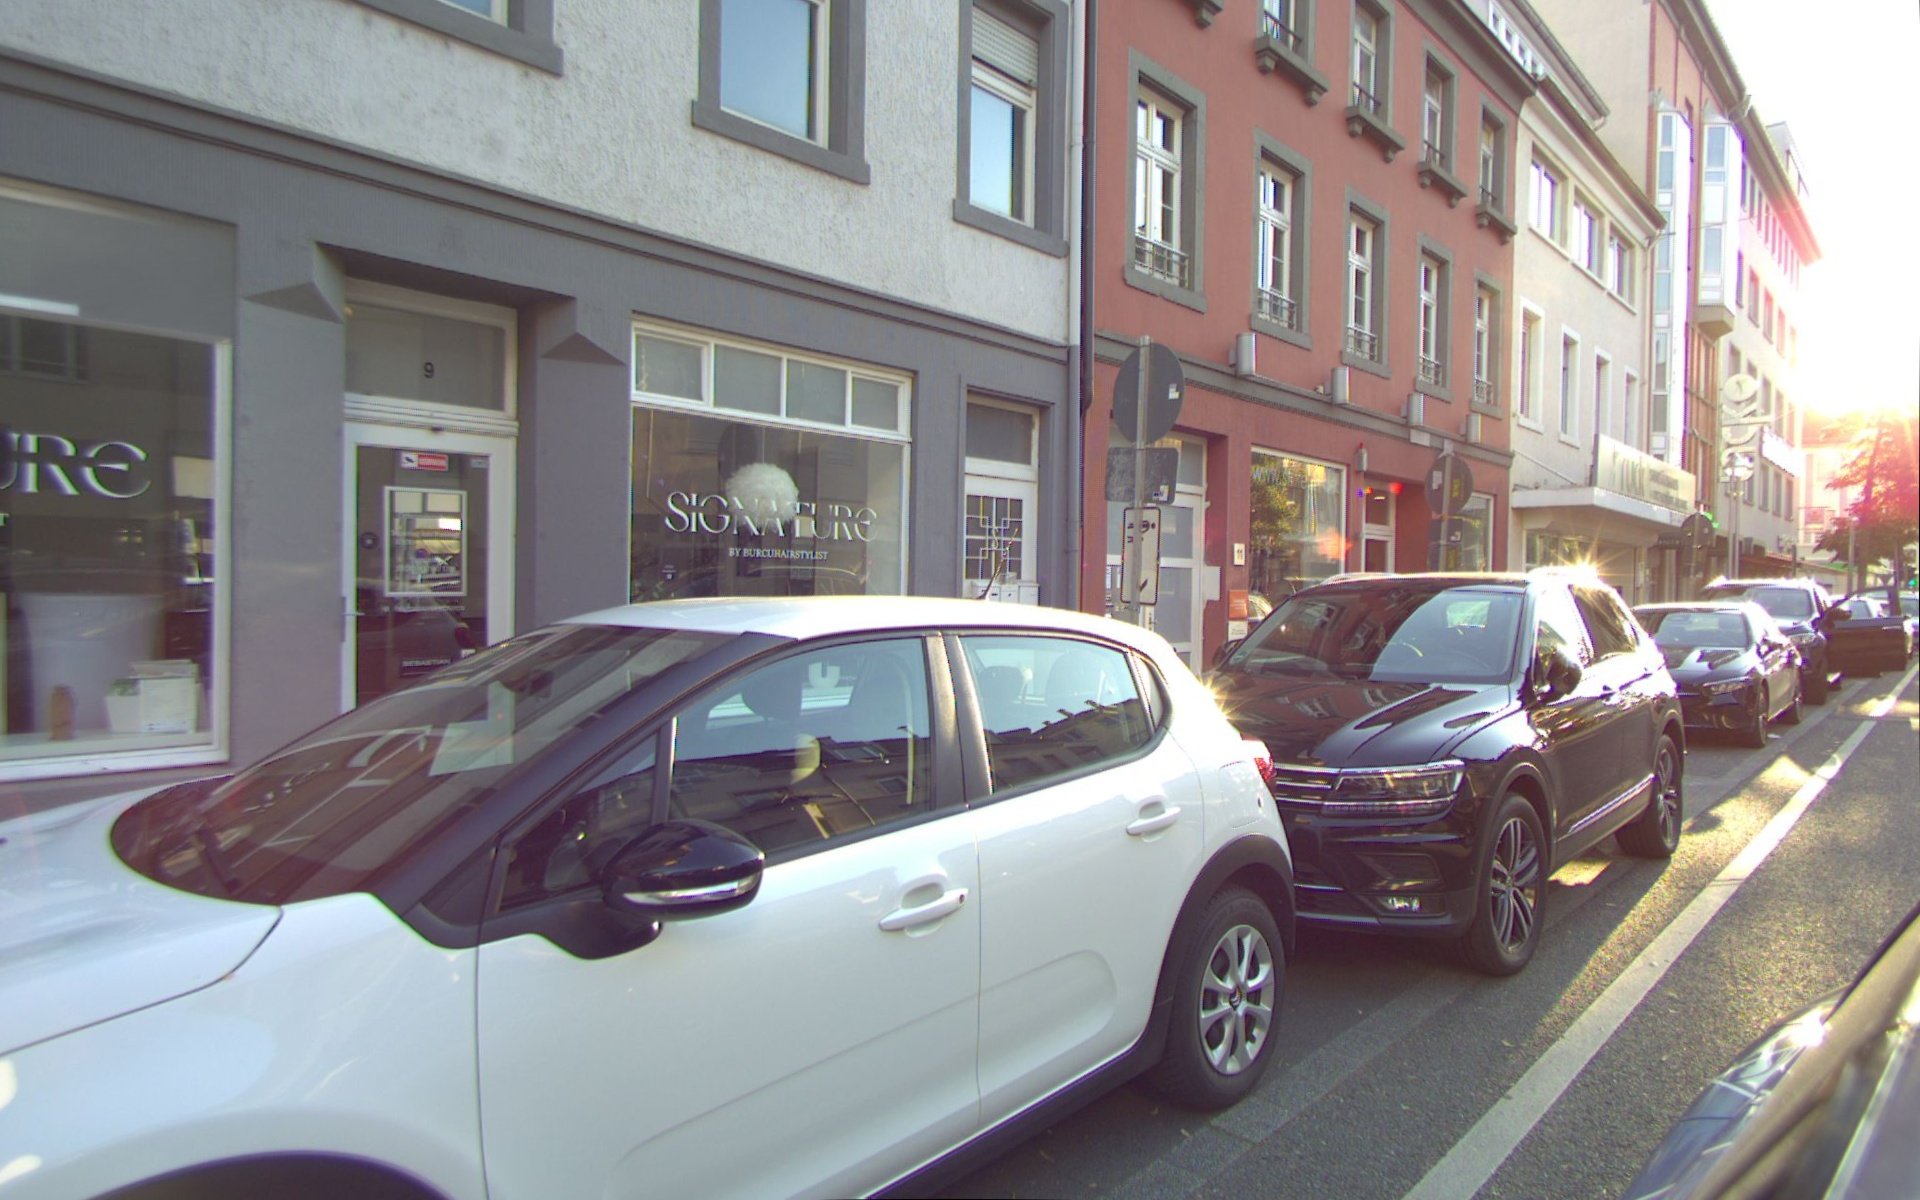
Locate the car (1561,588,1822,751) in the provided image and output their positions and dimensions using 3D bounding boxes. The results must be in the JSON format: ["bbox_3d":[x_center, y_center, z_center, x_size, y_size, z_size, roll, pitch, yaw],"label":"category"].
[{"bbox_3d":[8.435,0.638,11.506,4.338,1.507,1.686,-1,-1,-44],"label":"car"}]

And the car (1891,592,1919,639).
[{"bbox_3d":[33.049,0.517,34.407,3.722,1.521,1.692,-1,2,-42],"label":"car"}]

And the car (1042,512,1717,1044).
[{"bbox_3d":[2.559,0.557,5.464,4.387,1.720,1.795,-1,0,-44],"label":"car"}]

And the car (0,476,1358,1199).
[{"bbox_3d":[-0.715,0.651,2.501,3.868,1.593,1.663,-1,0,-43],"label":"car"}]

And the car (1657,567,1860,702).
[{"bbox_3d":[12.762,0.422,16.031,1.994,1.799,5.234,1,1,44],"label":"car"}]

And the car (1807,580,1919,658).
[{"bbox_3d":[22.002,0.384,24.386,4.407,1.675,1.995,-1,2,-44],"label":"car"}]

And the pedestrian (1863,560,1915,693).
[{"bbox_3d":[13.494,0.372,14.710,0.483,1.881,0.532,1,1,39],"label":"pedestrian"}]

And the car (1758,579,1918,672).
[{"bbox_3d":[17.901,0.426,20.551,4.550,1.676,1.996,-1,1,-43],"label":"car"}]

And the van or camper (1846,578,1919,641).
[{"bbox_3d":[28.884,0.254,31.127,1.781,1.795,4.504,2,2,33],"label":"van or camper"}]
